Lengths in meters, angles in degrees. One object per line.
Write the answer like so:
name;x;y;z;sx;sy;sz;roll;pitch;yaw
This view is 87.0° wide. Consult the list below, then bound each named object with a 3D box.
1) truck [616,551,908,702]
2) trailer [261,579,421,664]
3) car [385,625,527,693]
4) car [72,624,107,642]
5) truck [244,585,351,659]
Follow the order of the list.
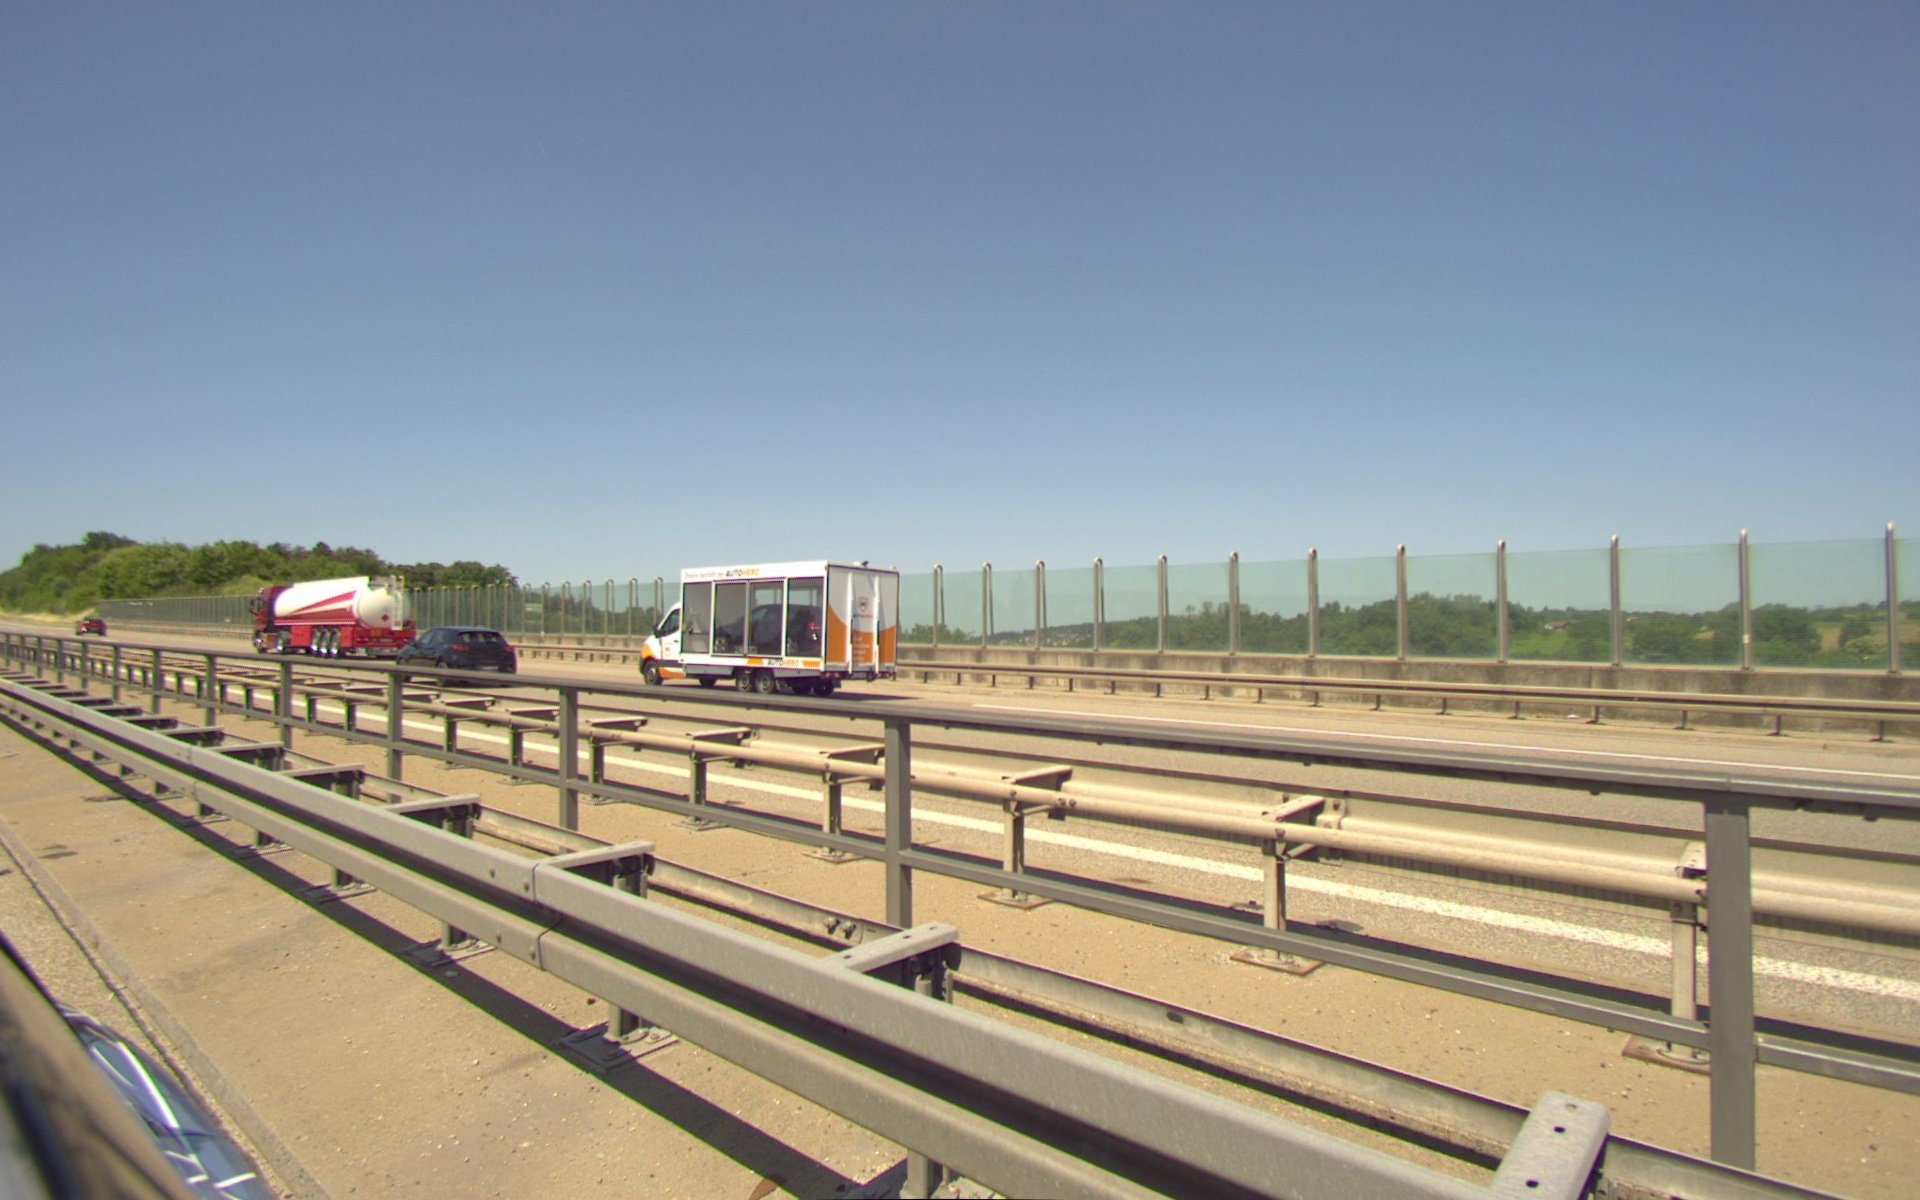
truck;-5.174;0.659;25.167;8.291;3.213;2.535;-1;-4;42
trailer;-28.219;0.951;45.787;12.005;3.405;2.845;0;-3;43
car;-12.452;1.402;24.935;3.850;1.510;1.779;-1;-2;41
car;-74.878;2.863;87.045;3.999;1.431;1.763;-1;-4;42
truck;-32.845;1.089;50.065;6.294;3.441;2.877;-1;-3;43
